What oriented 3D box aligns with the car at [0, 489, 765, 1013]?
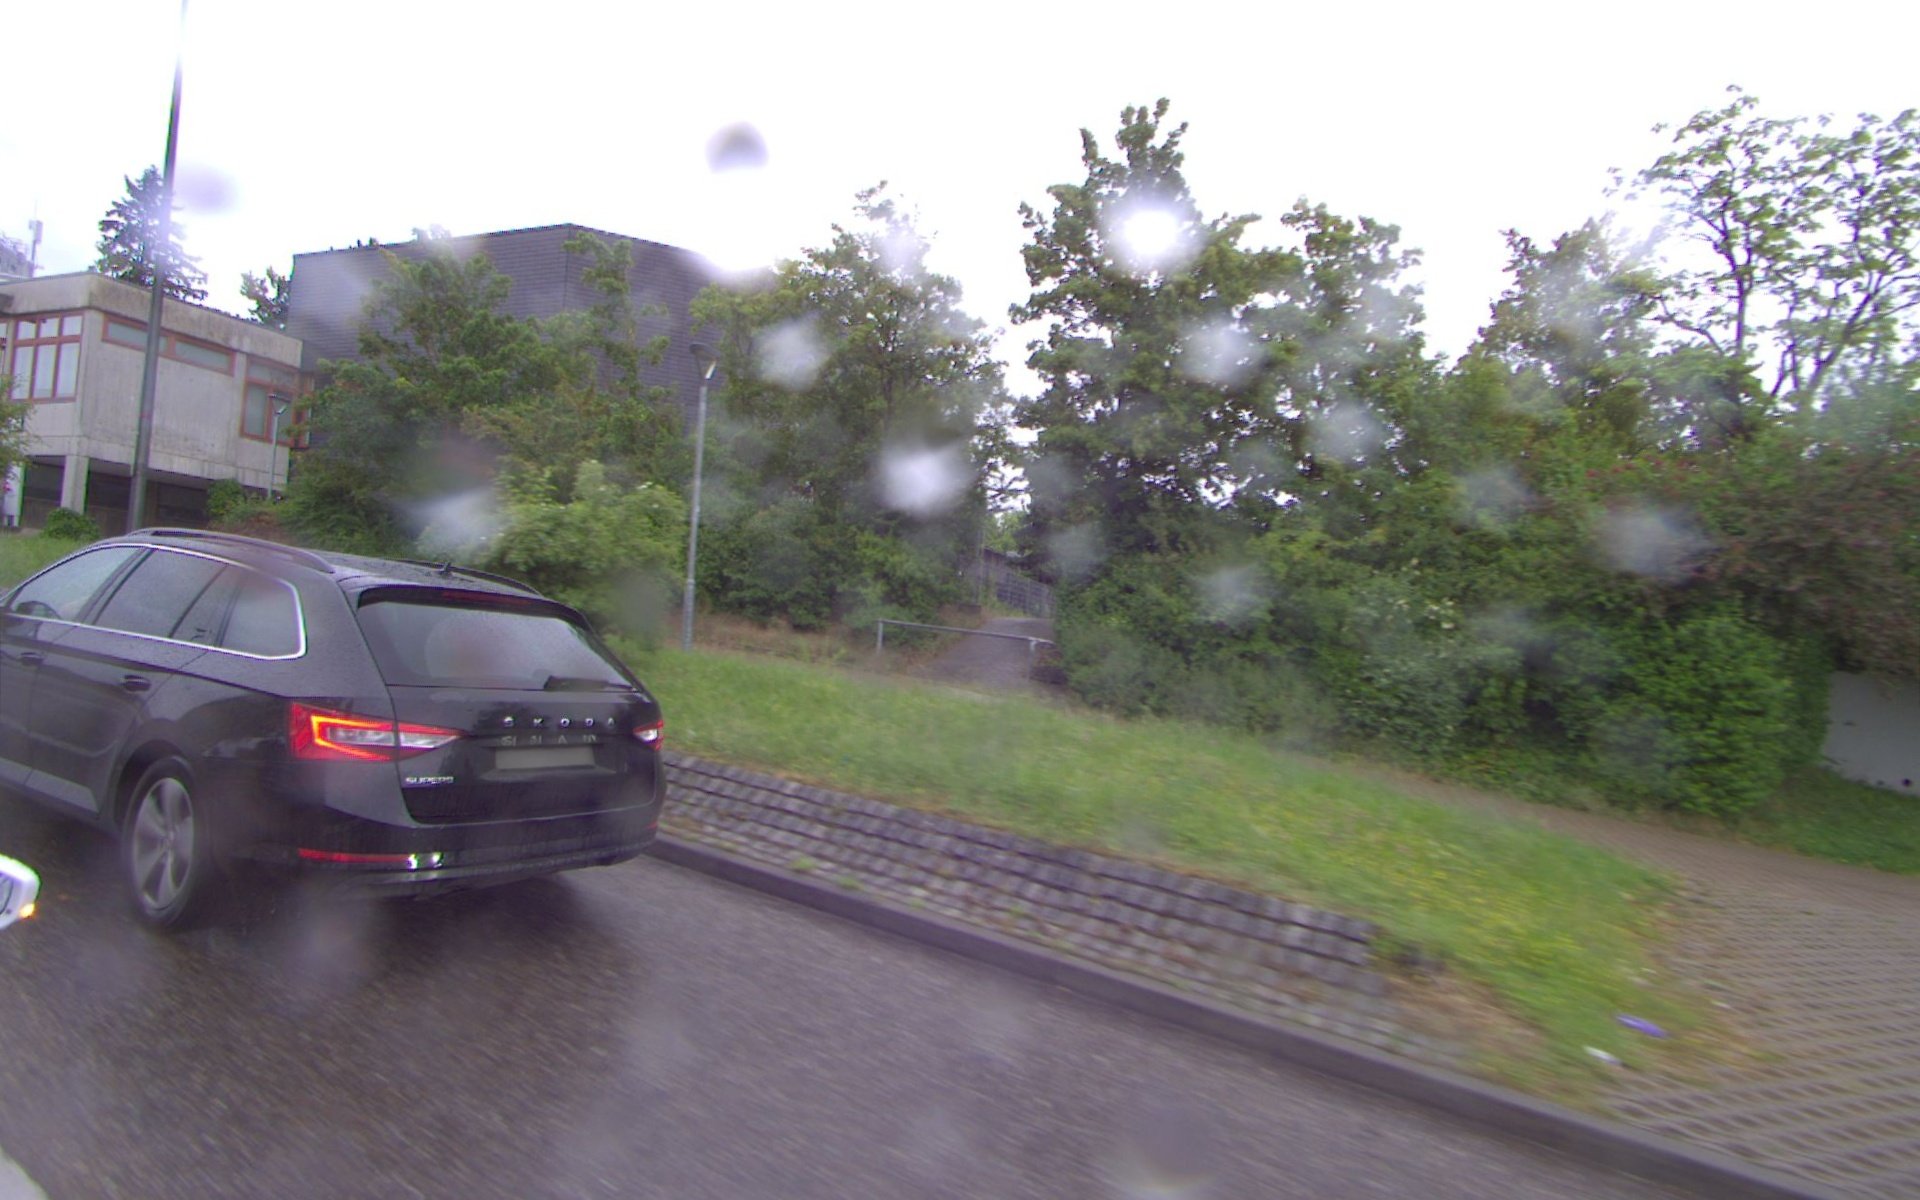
[{"bbox_3d":[-3.450,0.430,5.039,4.530,1.523,1.960,5,-4,30],"label":"car"}]
